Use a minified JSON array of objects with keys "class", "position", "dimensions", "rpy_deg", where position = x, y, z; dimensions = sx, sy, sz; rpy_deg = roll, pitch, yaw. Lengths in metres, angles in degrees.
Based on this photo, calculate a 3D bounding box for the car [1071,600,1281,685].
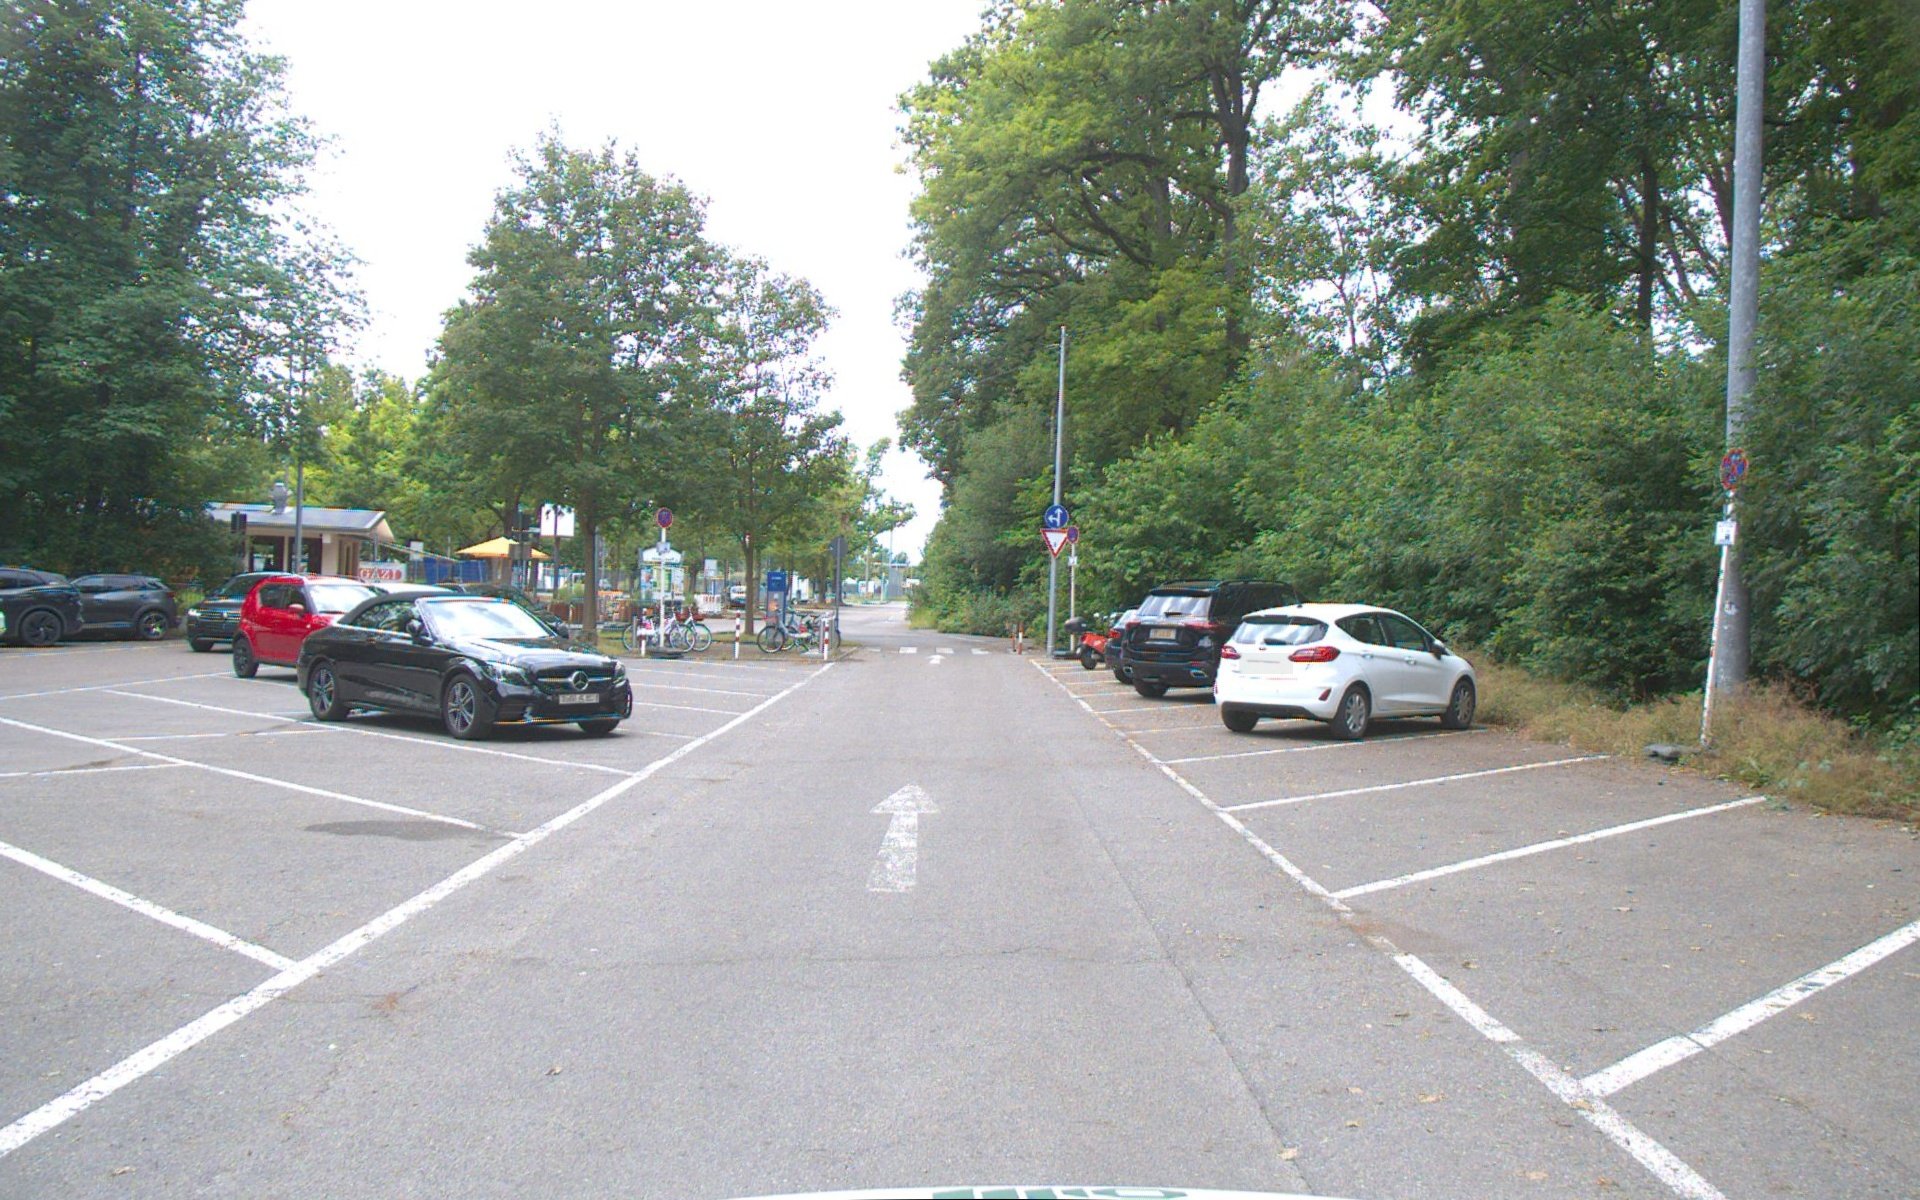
[{"class":"car","position":[3.950,0.718,29.813],"dimensions":[1.711,1.400,3.971],"rpy_deg":[1,1,45]}]

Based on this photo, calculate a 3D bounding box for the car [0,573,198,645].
[{"class":"car","position":[-19.464,0.190,37.333],"dimensions":[1.670,1.518,3.767],"rpy_deg":[1,1,43]}]

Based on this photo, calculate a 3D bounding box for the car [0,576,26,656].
[{"class":"car","position":[-19.359,0.277,29.832],"dimensions":[4.086,1.463,1.841],"rpy_deg":[0,1,-43]}]

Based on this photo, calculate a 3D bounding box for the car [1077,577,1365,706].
[{"class":"car","position":[4.125,0.606,25.627],"dimensions":[2.077,1.798,4.675],"rpy_deg":[1,0,45]}]

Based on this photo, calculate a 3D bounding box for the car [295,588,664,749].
[{"class":"car","position":[-5.249,0.647,17.805],"dimensions":[4.239,1.467,1.858],"rpy_deg":[1,0,42]}]

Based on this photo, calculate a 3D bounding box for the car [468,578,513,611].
[{"class":"car","position":[-23.410,-0.298,82.537],"dimensions":[1.960,1.579,3.985],"rpy_deg":[1,0,-14]}]

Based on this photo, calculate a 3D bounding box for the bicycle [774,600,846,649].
[{"class":"bicycle","position":[-3.623,0.581,40.010],"dimensions":[1.656,1.131,0.483],"rpy_deg":[1,0,7]}]

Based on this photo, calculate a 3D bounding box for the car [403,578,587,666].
[{"class":"car","position":[-9.108,0.384,32.220],"dimensions":[1.816,1.549,4.036],"rpy_deg":[0,1,-43]}]

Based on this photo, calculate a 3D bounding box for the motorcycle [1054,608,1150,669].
[{"class":"motorcycle","position":[2.972,0.794,34.445],"dimensions":[2.006,1.229,0.722],"rpy_deg":[1,1,-36]}]

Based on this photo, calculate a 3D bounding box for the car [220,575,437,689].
[{"class":"car","position":[-9.824,0.448,25.636],"dimensions":[3.589,1.613,1.677],"rpy_deg":[1,0,42]}]

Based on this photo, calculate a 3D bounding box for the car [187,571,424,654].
[{"class":"car","position":[-13.493,0.242,34.252],"dimensions":[1.923,1.607,4.177],"rpy_deg":[1,1,42]}]

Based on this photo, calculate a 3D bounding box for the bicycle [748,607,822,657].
[{"class":"bicycle","position":[-4.125,0.750,38.958],"dimensions":[1.644,1.131,0.506],"rpy_deg":[1,0,5]}]

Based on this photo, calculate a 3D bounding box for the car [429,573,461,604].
[{"class":"car","position":[-34.852,-0.767,111.954],"dimensions":[1.962,2.049,3.981],"rpy_deg":[1,0,-17]}]

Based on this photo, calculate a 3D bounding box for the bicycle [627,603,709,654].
[{"class":"bicycle","position":[-6.615,0.642,37.465],"dimensions":[1.746,1.131,0.483],"rpy_deg":[1,0,2]}]

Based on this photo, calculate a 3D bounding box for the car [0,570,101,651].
[{"class":"car","position":[-19.721,0.188,33.020],"dimensions":[1.923,1.607,4.177],"rpy_deg":[1,1,42]}]

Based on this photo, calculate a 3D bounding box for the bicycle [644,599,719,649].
[{"class":"bicycle","position":[-6.560,0.566,38.962],"dimensions":[1.644,1.131,0.483],"rpy_deg":[1,0,2]}]

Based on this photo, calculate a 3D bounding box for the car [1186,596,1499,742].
[{"class":"car","position":[4.641,0.760,19.738],"dimensions":[1.839,1.537,3.971],"rpy_deg":[1,0,45]}]

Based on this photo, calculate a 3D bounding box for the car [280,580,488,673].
[{"class":"car","position":[-10.338,0.429,29.585],"dimensions":[3.929,1.509,1.866],"rpy_deg":[2,1,42]}]
